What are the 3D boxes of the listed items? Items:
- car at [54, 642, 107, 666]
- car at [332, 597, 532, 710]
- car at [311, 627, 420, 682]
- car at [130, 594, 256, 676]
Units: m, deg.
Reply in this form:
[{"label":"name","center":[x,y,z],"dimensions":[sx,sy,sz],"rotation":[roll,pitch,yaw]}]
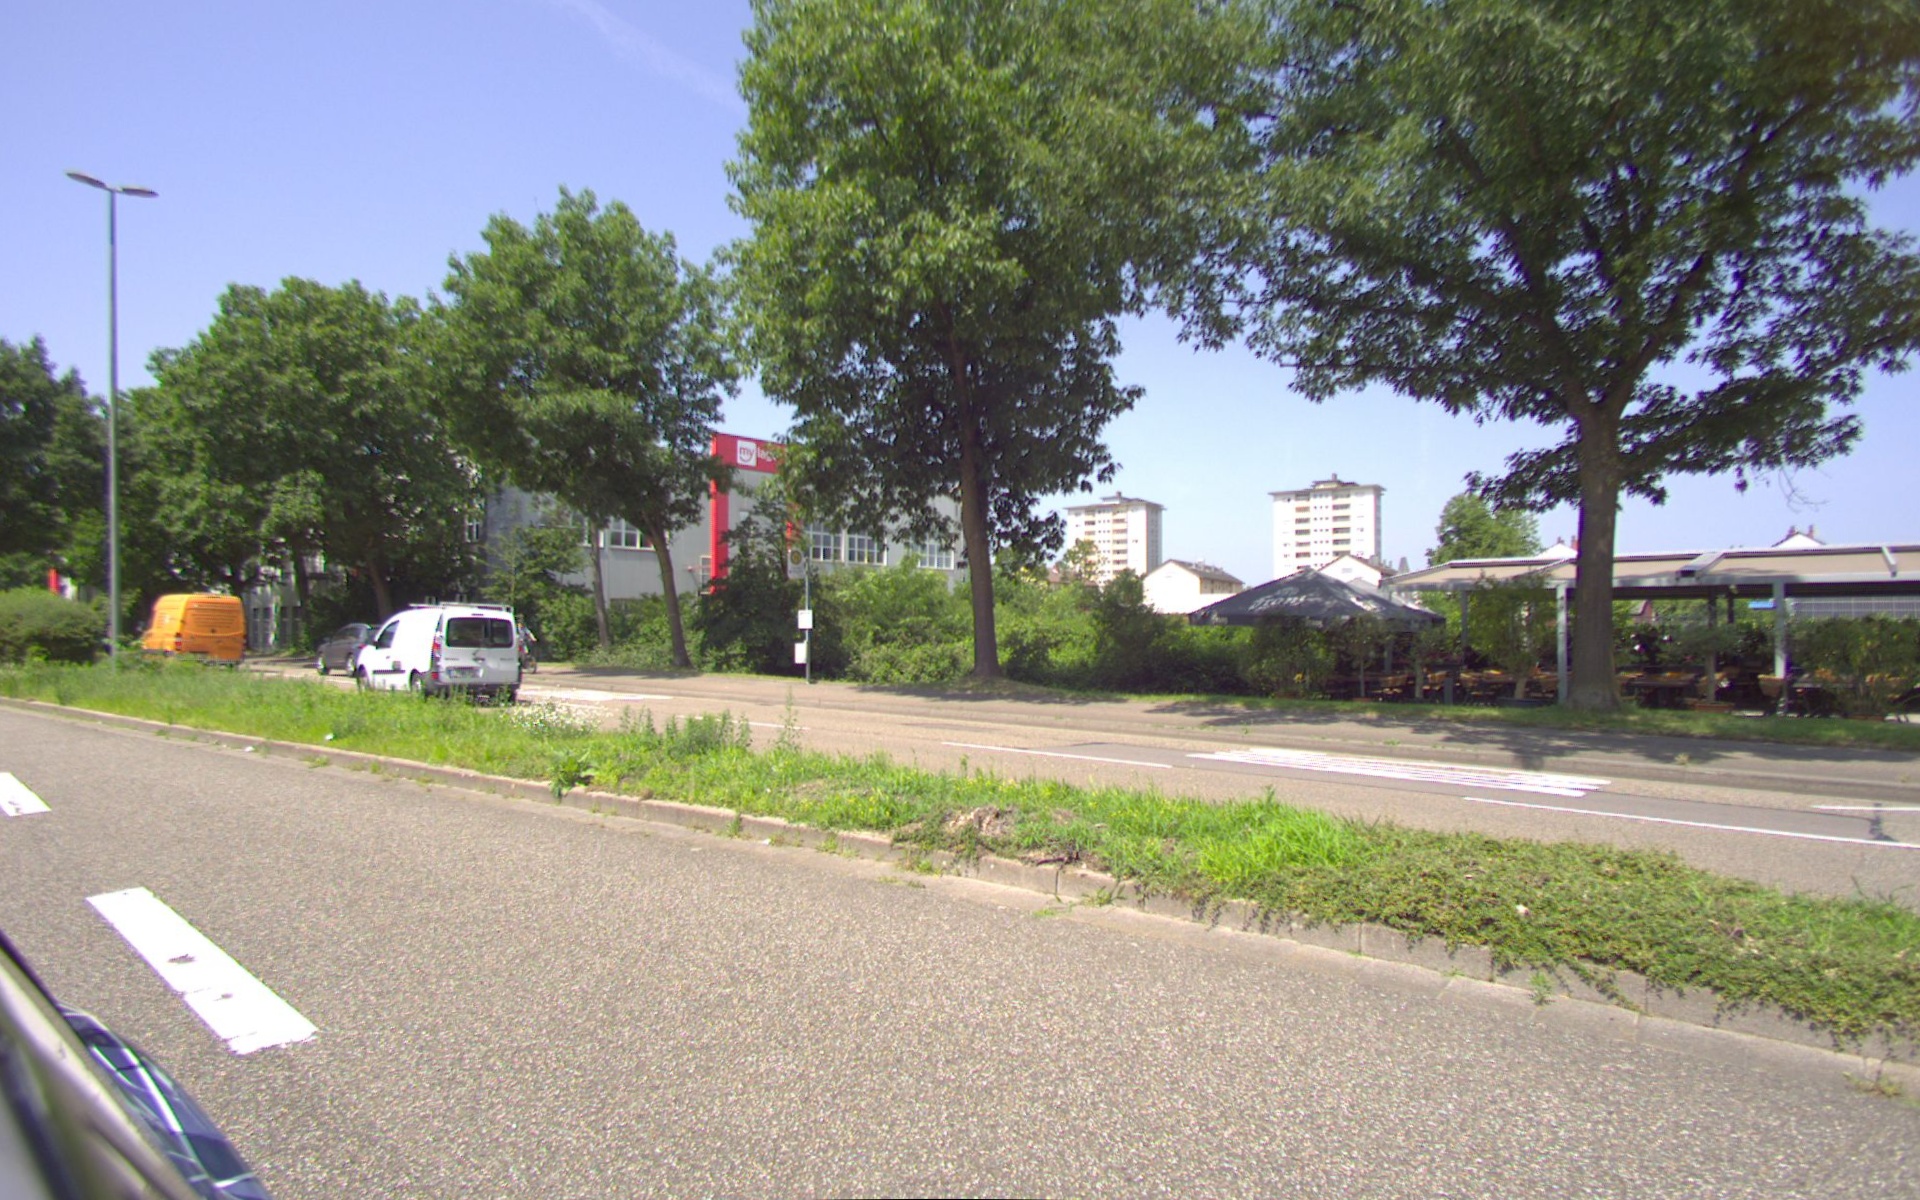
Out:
[{"label":"car","center":[-53.572,3.285,61.600],"dimensions":[4.584,1.398,1.669],"rotation":[-2,-5,40]},{"label":"car","center":[-10.198,1.028,19.402],"dimensions":[4.423,1.920,1.832],"rotation":[-2,-5,41]},{"label":"car","center":[-18.779,1.711,31.902],"dimensions":[4.211,1.616,1.697],"rotation":[-2,-5,42]},{"label":"car","center":[-26.535,1.239,34.911],"dimensions":[6.055,2.587,2.241],"rotation":[-2,-4,42]}]
